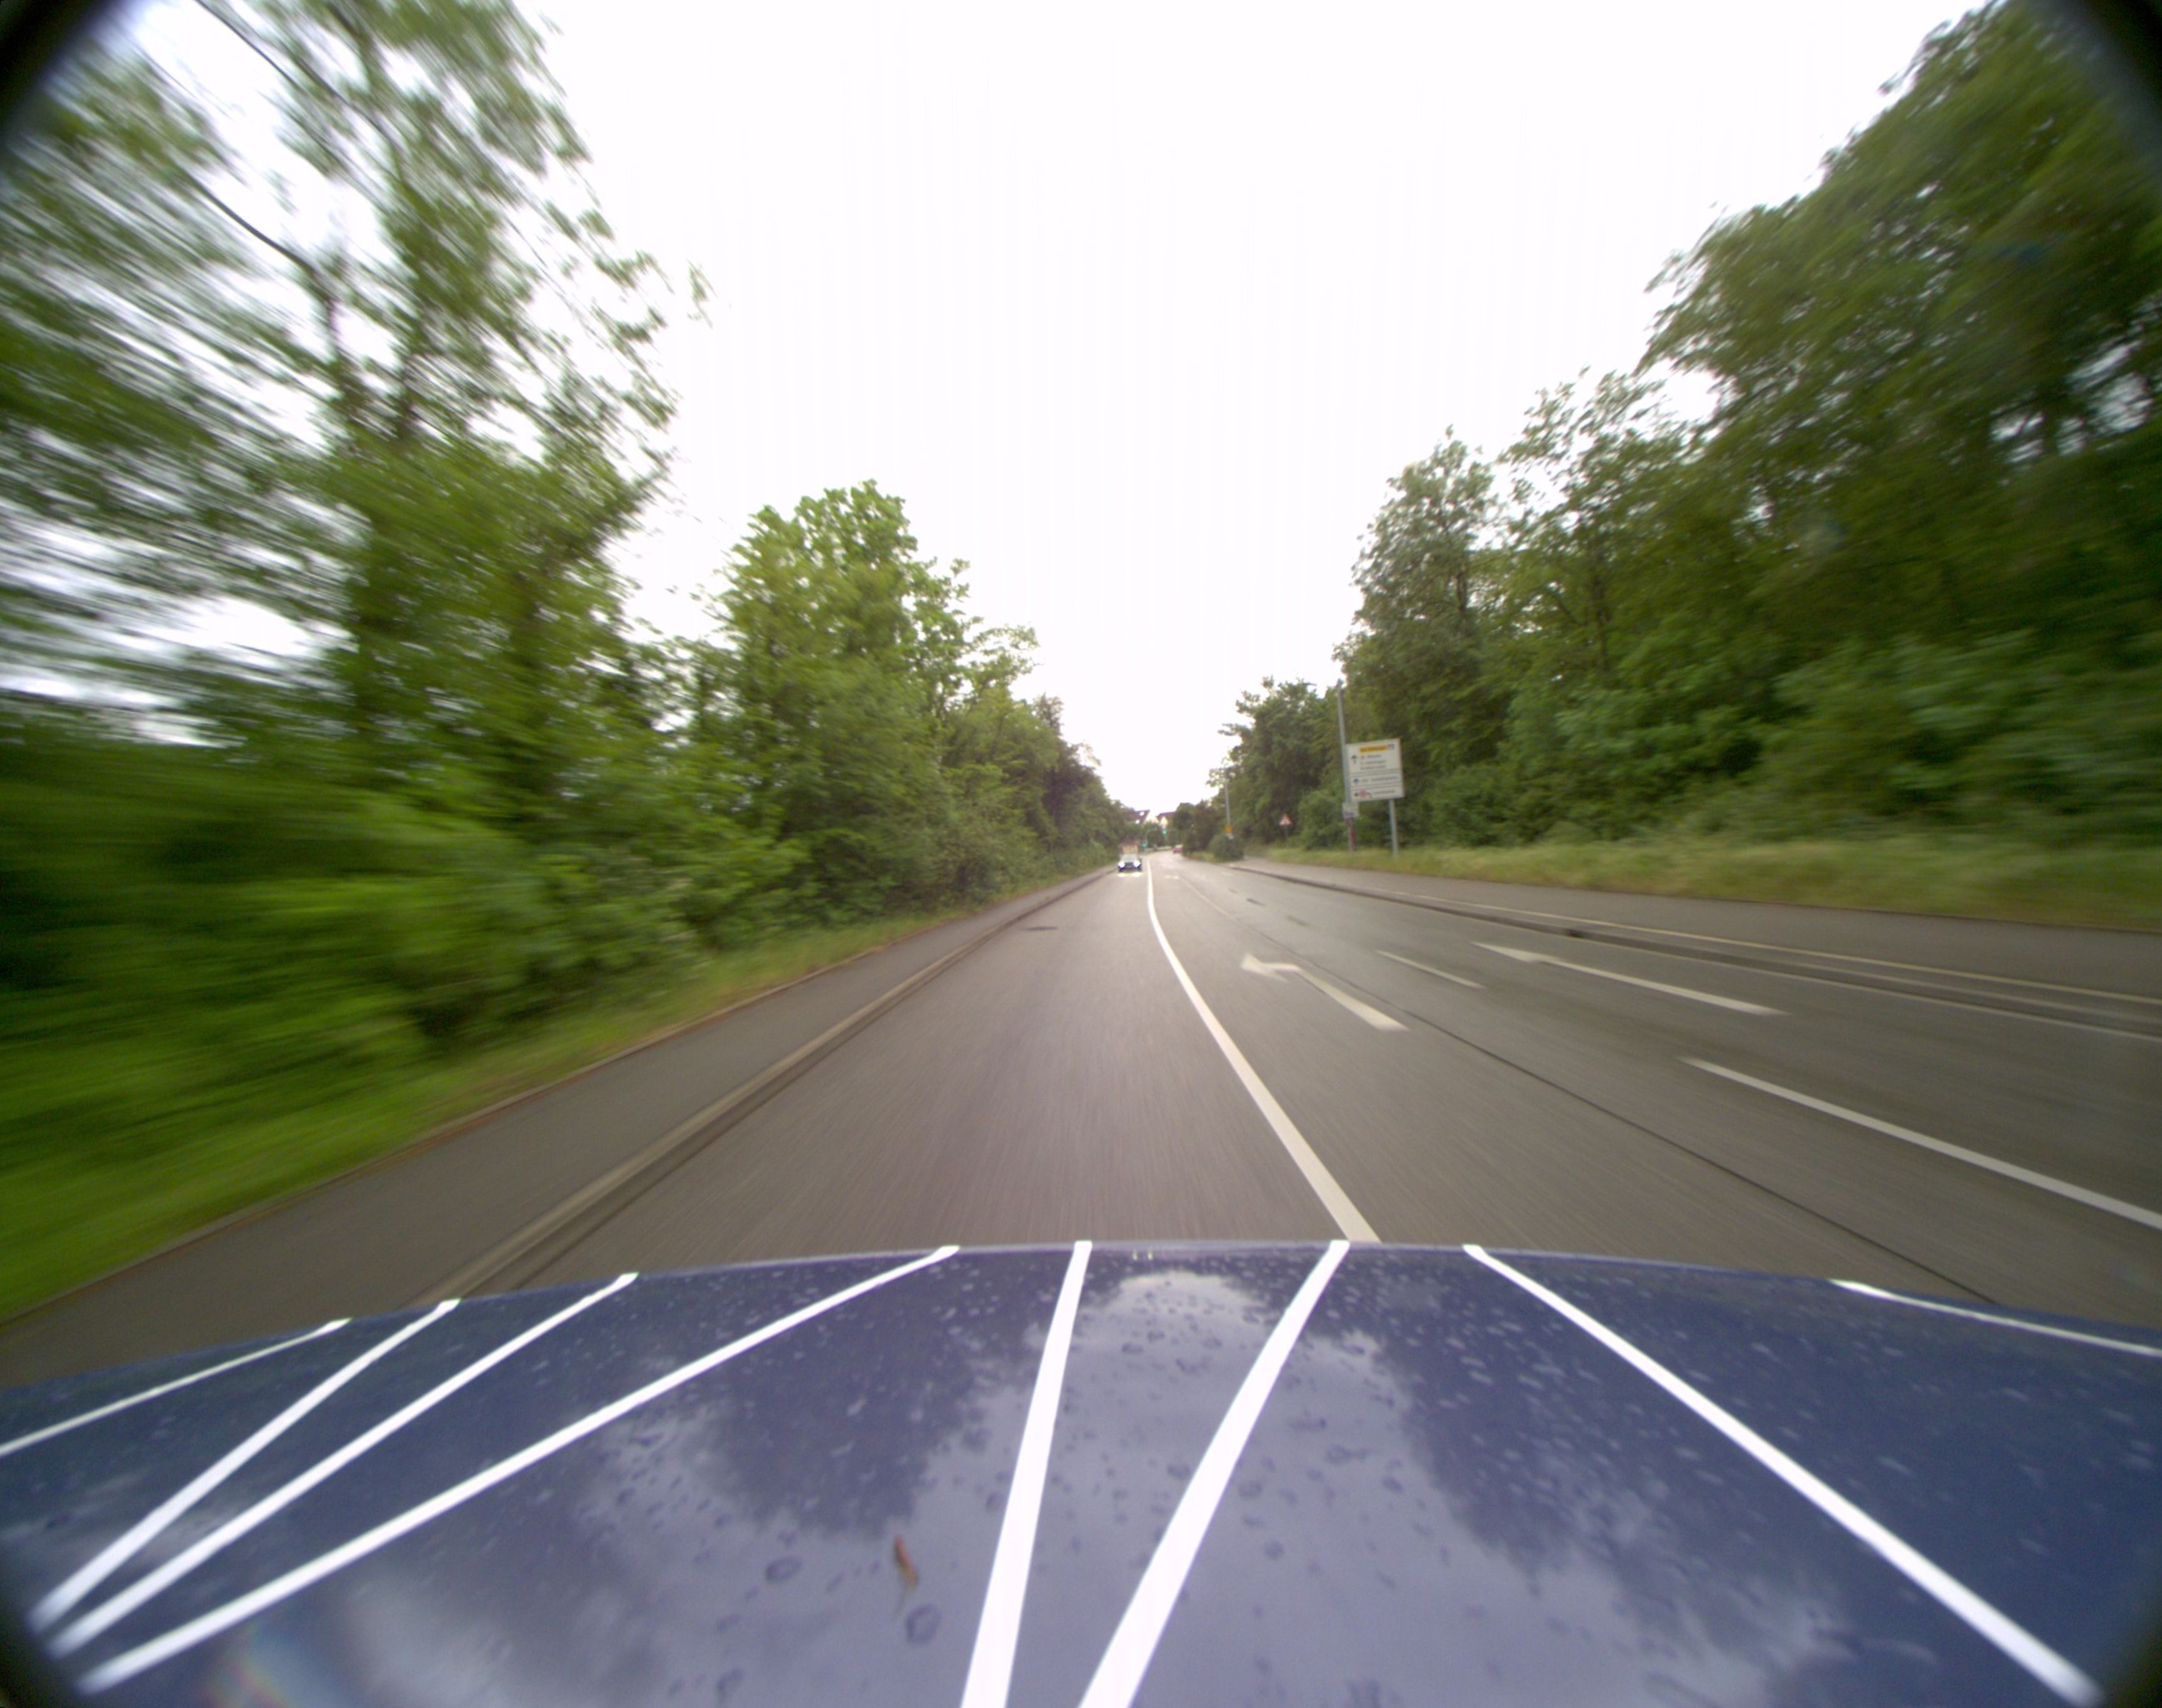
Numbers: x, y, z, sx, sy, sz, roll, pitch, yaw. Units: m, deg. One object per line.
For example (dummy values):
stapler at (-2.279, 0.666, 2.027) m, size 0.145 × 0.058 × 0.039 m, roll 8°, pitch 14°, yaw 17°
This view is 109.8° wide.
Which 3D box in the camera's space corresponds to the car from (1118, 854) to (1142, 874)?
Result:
car at (3.959, 0.842, 61.625) m, size 1.831 × 1.511 × 4.002 m, roll 0°, pitch -1°, yaw 3°
